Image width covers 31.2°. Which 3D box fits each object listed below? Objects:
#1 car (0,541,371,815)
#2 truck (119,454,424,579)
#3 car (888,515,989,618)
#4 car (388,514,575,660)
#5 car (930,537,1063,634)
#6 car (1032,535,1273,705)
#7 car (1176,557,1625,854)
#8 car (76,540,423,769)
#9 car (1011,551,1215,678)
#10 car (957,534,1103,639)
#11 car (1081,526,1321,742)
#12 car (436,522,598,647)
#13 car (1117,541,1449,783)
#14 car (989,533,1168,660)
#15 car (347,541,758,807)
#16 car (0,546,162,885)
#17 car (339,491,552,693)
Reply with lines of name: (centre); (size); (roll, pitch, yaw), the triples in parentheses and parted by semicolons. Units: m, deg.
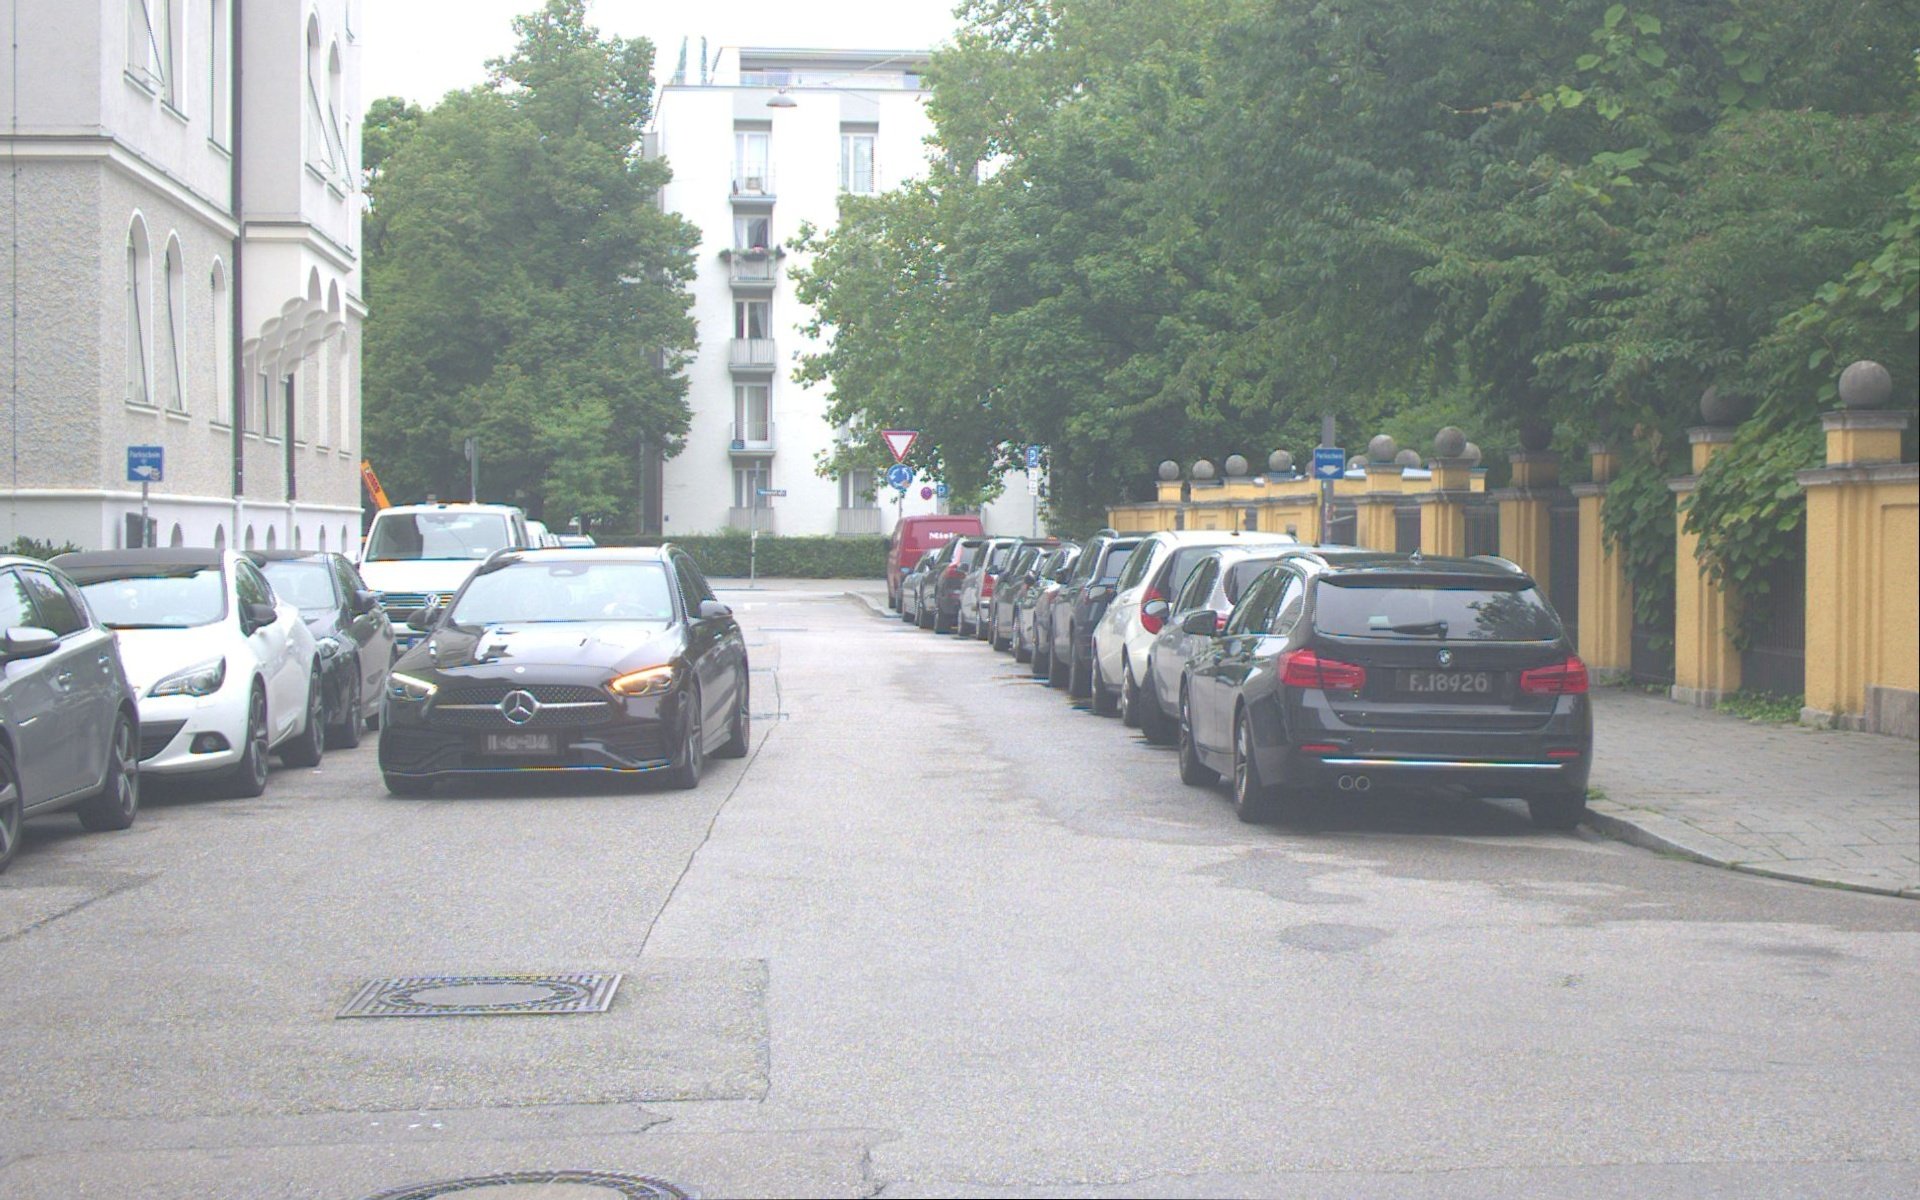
car: (-4.941, 0.406, 21.236); (1.836, 1.433, 4.275); (-2, 1, 0)
truck: (-18.369, -2.215, 92.119); (7.675, 3.230, 2.897); (-1, 2, -44)
car: (-0.410, -0.708, 69.463); (1.836, 1.920, 4.005); (3, 2, 1)
car: (-6.325, -0.219, 45.852); (2.015, 1.765, 4.414); (-2, 1, -3)
car: (0.575, -0.260, 57.547); (1.838, 1.513, 3.948); (2, 1, -4)
car: (1.854, 0.164, 34.298); (1.838, 1.546, 3.948); (2, 1, -4)
car: (2.306, 0.496, 19.100); (1.838, 1.408, 4.343); (2, 1, -1)
car: (-5.275, 0.341, 26.050); (1.836, 1.494, 4.275); (-2, 1, -2)
car: (1.708, 0.135, 39.610); (1.838, 1.341, 3.948); (2, 1, -4)
car: (1.045, -0.231, 53.393); (1.838, 1.513, 3.948); (2, 1, -4)
car: (1.961, 0.246, 28.853); (1.513, 1.656, 3.674); (2, 1, -3)
car: (-6.608, -0.276, 51.654); (2.015, 1.720, 4.275); (-2, 1, -3)
car: (2.180, 0.379, 24.126); (1.652, 1.513, 3.796); (2, 1, -4)
car: (1.487, -0.070, 44.523); (1.838, 1.513, 3.948); (2, 1, -4)
car: (-2.409, 0.379, 21.419); (1.874, 1.423, 4.409); (-1, 2, 2)
car: (-5.117, 0.507, 16.340); (1.726, 1.494, 3.930); (-1, 1, 0)
car: (-5.872, -0.147, 39.728); (1.886, 2.120, 4.707); (-2, 1, -3)
